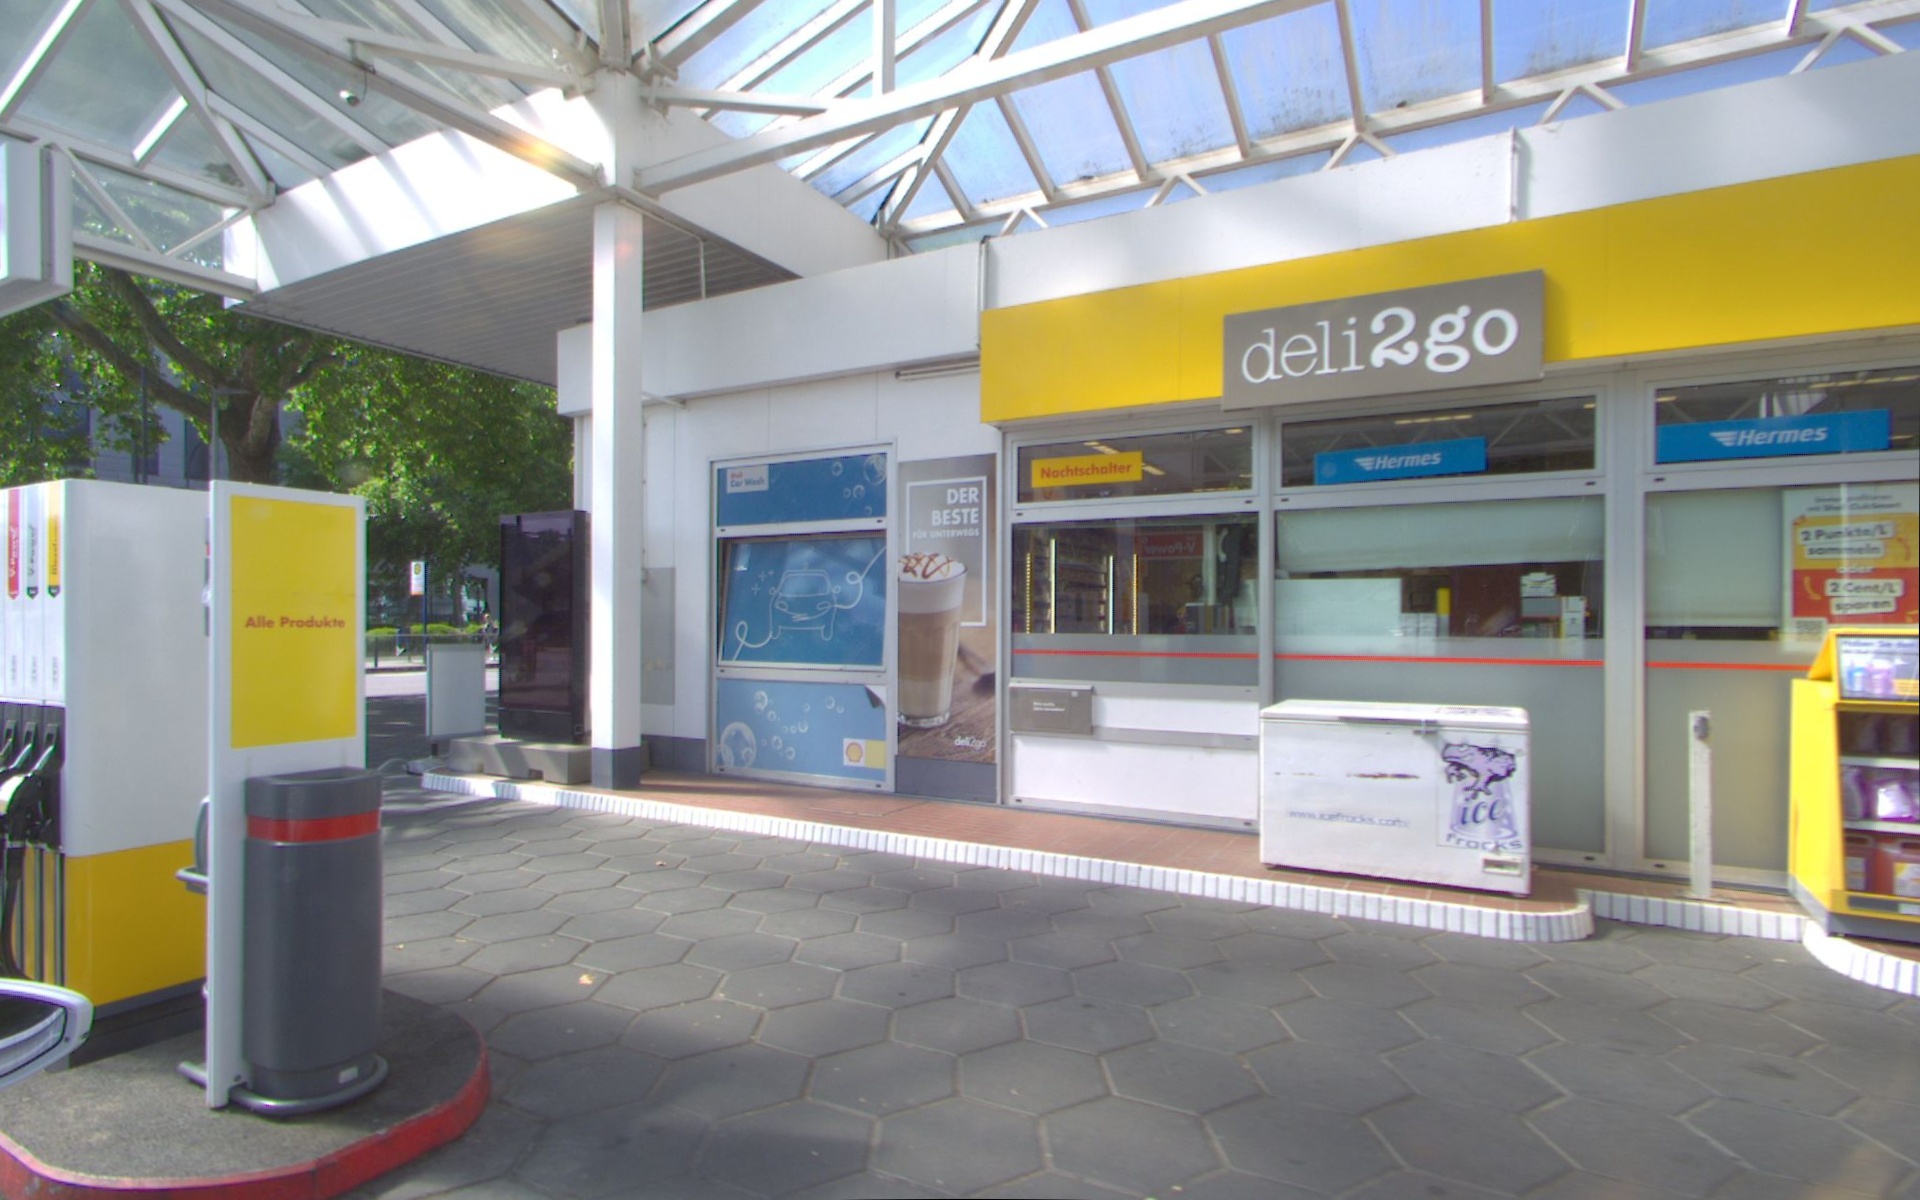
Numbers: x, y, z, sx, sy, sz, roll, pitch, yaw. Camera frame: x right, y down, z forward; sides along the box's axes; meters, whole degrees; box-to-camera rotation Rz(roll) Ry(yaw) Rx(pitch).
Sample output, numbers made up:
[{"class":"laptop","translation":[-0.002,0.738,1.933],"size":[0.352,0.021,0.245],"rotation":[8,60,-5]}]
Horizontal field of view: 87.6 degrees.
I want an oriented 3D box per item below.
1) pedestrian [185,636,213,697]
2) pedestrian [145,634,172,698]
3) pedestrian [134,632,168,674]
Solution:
[{"class":"pedestrian","translation":[-22.056,1.920,29.020],"size":[0.516,1.758,0.498],"rotation":[0,0,32]},{"class":"pedestrian","translation":[-22.582,1.854,28.216],"size":[0.400,1.758,0.498],"rotation":[0,0,32]},{"class":"pedestrian","translation":[-22.695,1.473,28.096],"size":[0.517,1.152,0.626],"rotation":[0,-1,36]}]
